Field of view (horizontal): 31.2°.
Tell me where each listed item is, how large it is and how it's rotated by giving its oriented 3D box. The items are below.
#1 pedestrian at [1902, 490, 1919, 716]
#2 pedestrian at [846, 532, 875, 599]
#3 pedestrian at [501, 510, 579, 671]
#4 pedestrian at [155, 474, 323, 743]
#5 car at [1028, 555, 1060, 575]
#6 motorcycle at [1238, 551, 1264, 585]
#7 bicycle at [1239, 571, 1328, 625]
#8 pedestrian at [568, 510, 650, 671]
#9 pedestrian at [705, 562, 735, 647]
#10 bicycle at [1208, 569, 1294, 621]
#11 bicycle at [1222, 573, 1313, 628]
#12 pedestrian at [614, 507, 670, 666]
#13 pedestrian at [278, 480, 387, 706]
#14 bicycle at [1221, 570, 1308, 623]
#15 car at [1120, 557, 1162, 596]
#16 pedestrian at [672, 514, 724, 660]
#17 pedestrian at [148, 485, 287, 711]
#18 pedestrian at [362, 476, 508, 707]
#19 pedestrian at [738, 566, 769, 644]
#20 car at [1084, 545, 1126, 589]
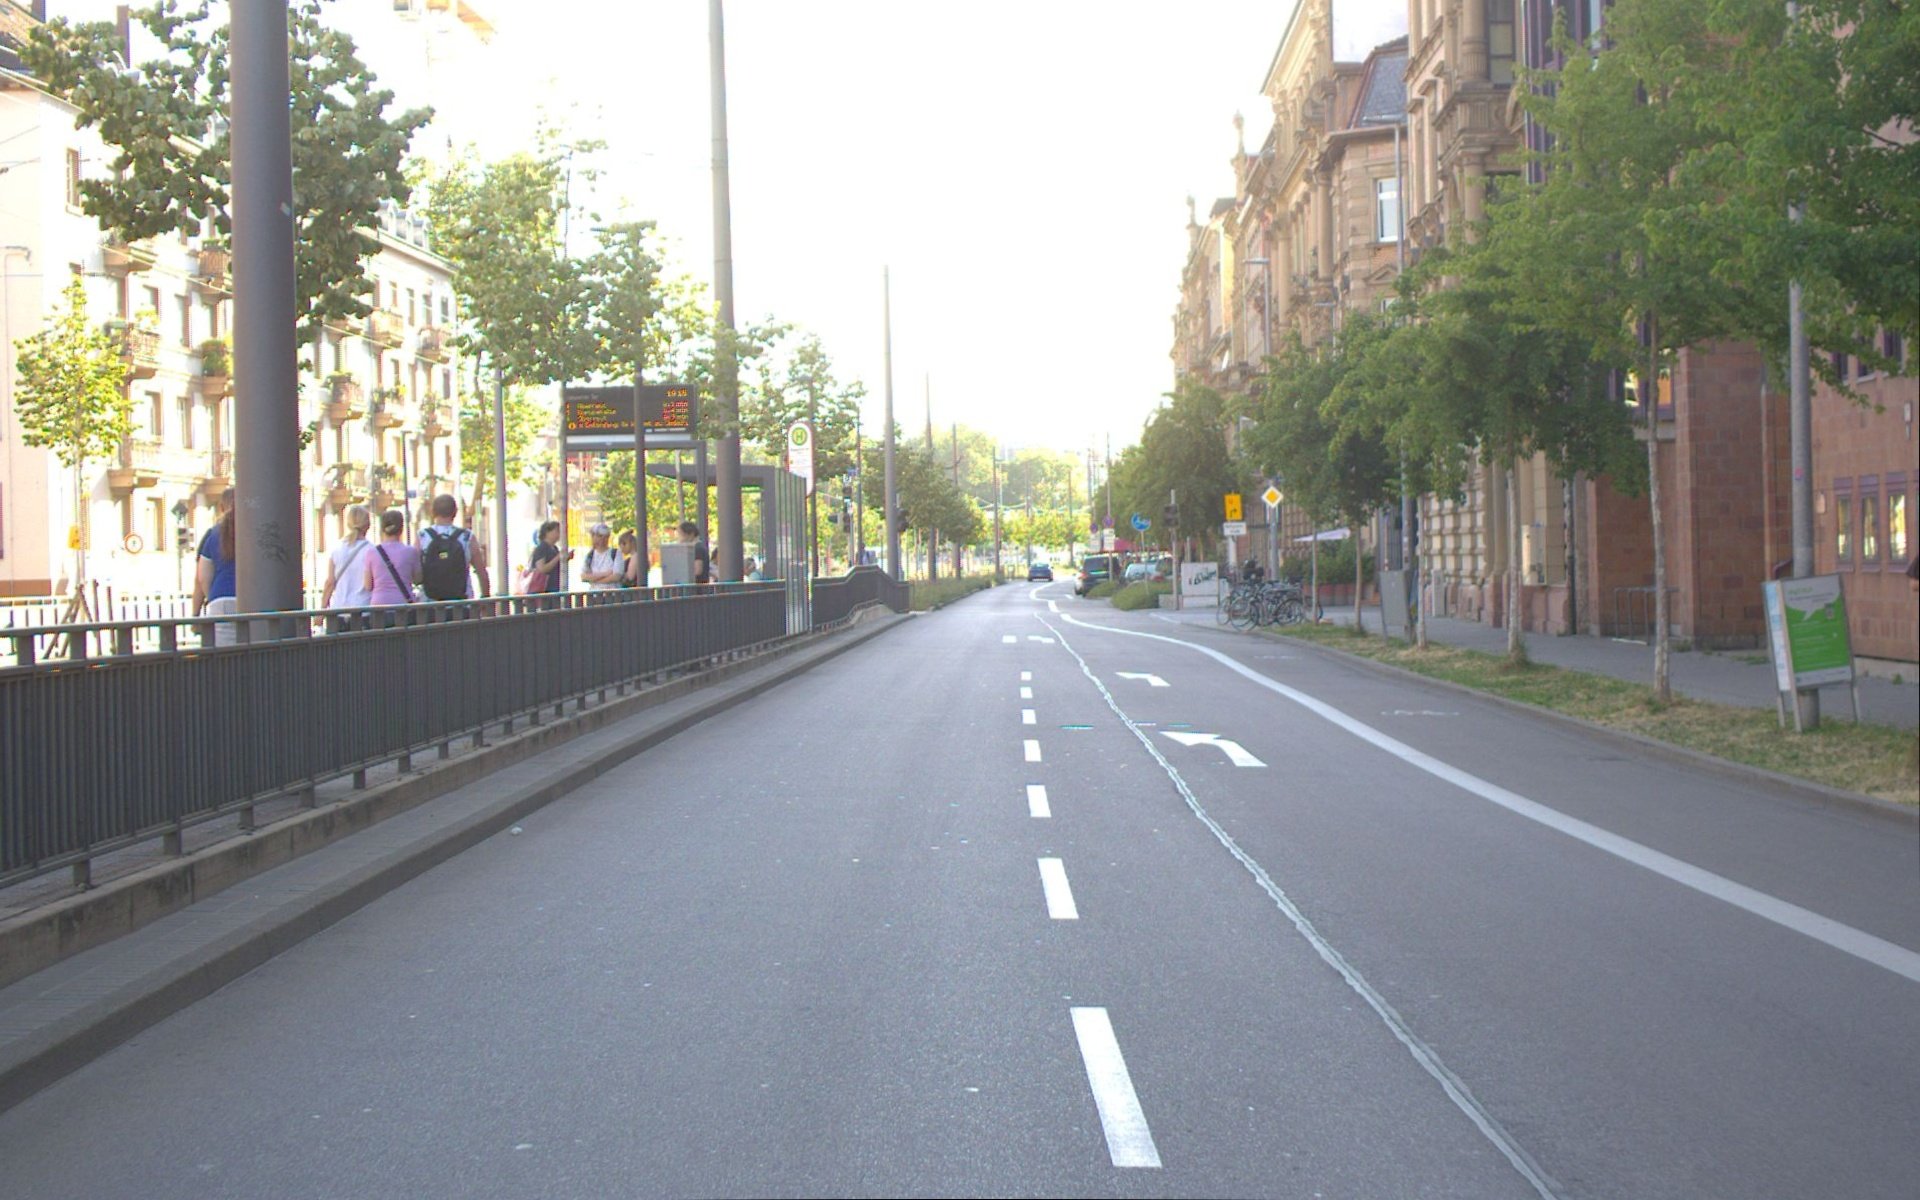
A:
[{"bbox_3d":[7.681,0.016,26.758,0.536,1.750,0.422,-1,0,0],"label":"pedestrian"},{"bbox_3d":[-2.492,-0.862,86.297,0.655,1.637,0.867,-1,-1,1],"label":"pedestrian"},{"bbox_3d":[-4.568,-0.110,37.463,0.719,1.726,0.651,-1,0,1],"label":"pedestrian"},{"bbox_3d":[-4.590,0.051,21.935,0.888,1.666,0.672,-1,0,0],"label":"pedestrian"},{"bbox_3d":[6.211,-2.582,253.704,1.798,1.459,3.999,-1,1,8],"label":"car"},{"bbox_3d":[11.848,-1.316,140.174,0.795,1.304,2.852,-3,2,1],"label":"motorcycle"},{"bbox_3d":[7.214,-0.052,76.631,1.825,1.061,0.664,-4,2,-3],"label":"bicycle"},{"bbox_3d":[-3.473,-0.101,34.093,0.673,1.556,0.906,-1,1,1],"label":"pedestrian"},{"bbox_3d":[-3.903,0.070,55.939,0.428,1.381,0.408,-1,0,-11],"label":"pedestrian"},{"bbox_3d":[6.726,-0.119,79.504,1.825,1.061,0.664,-4,2,-3],"label":"bicycle"},{"bbox_3d":[6.729,0.000,75.273,1.825,1.061,0.664,-4,2,-3],"label":"bicycle"},{"bbox_3d":[-3.496,-0.149,37.804,0.505,1.726,0.651,-1,0,1],"label":"pedestrian"},{"bbox_3d":[-4.727,-0.057,25.918,0.656,1.666,0.672,-1,0,0],"label":"pedestrian"},{"bbox_3d":[6.916,-0.083,78.025,1.825,1.061,0.664,-4,2,-3],"label":"bicycle"},{"bbox_3d":[7.674,-1.002,145.361,1.637,1.481,4.211,-3,2,4],"label":"car"},{"bbox_3d":[-3.037,-0.153,39.860,0.505,1.673,0.651,-1,0,1],"label":"pedestrian"},{"bbox_3d":[-4.966,-0.018,23.043,0.682,1.478,0.829,-1,1,4],"label":"pedestrian"},{"bbox_3d":[-3.916,-0.070,25.717,0.888,1.666,1.096,-1,1,0],"label":"pedestrian"},{"bbox_3d":[-3.179,0.081,52.916,0.406,1.186,0.430,-1,1,-11],"label":"pedestrian"},{"bbox_3d":[6.850,-1.564,161.928,1.885,1.930,4.473,-1,2,3],"label":"car"}]
